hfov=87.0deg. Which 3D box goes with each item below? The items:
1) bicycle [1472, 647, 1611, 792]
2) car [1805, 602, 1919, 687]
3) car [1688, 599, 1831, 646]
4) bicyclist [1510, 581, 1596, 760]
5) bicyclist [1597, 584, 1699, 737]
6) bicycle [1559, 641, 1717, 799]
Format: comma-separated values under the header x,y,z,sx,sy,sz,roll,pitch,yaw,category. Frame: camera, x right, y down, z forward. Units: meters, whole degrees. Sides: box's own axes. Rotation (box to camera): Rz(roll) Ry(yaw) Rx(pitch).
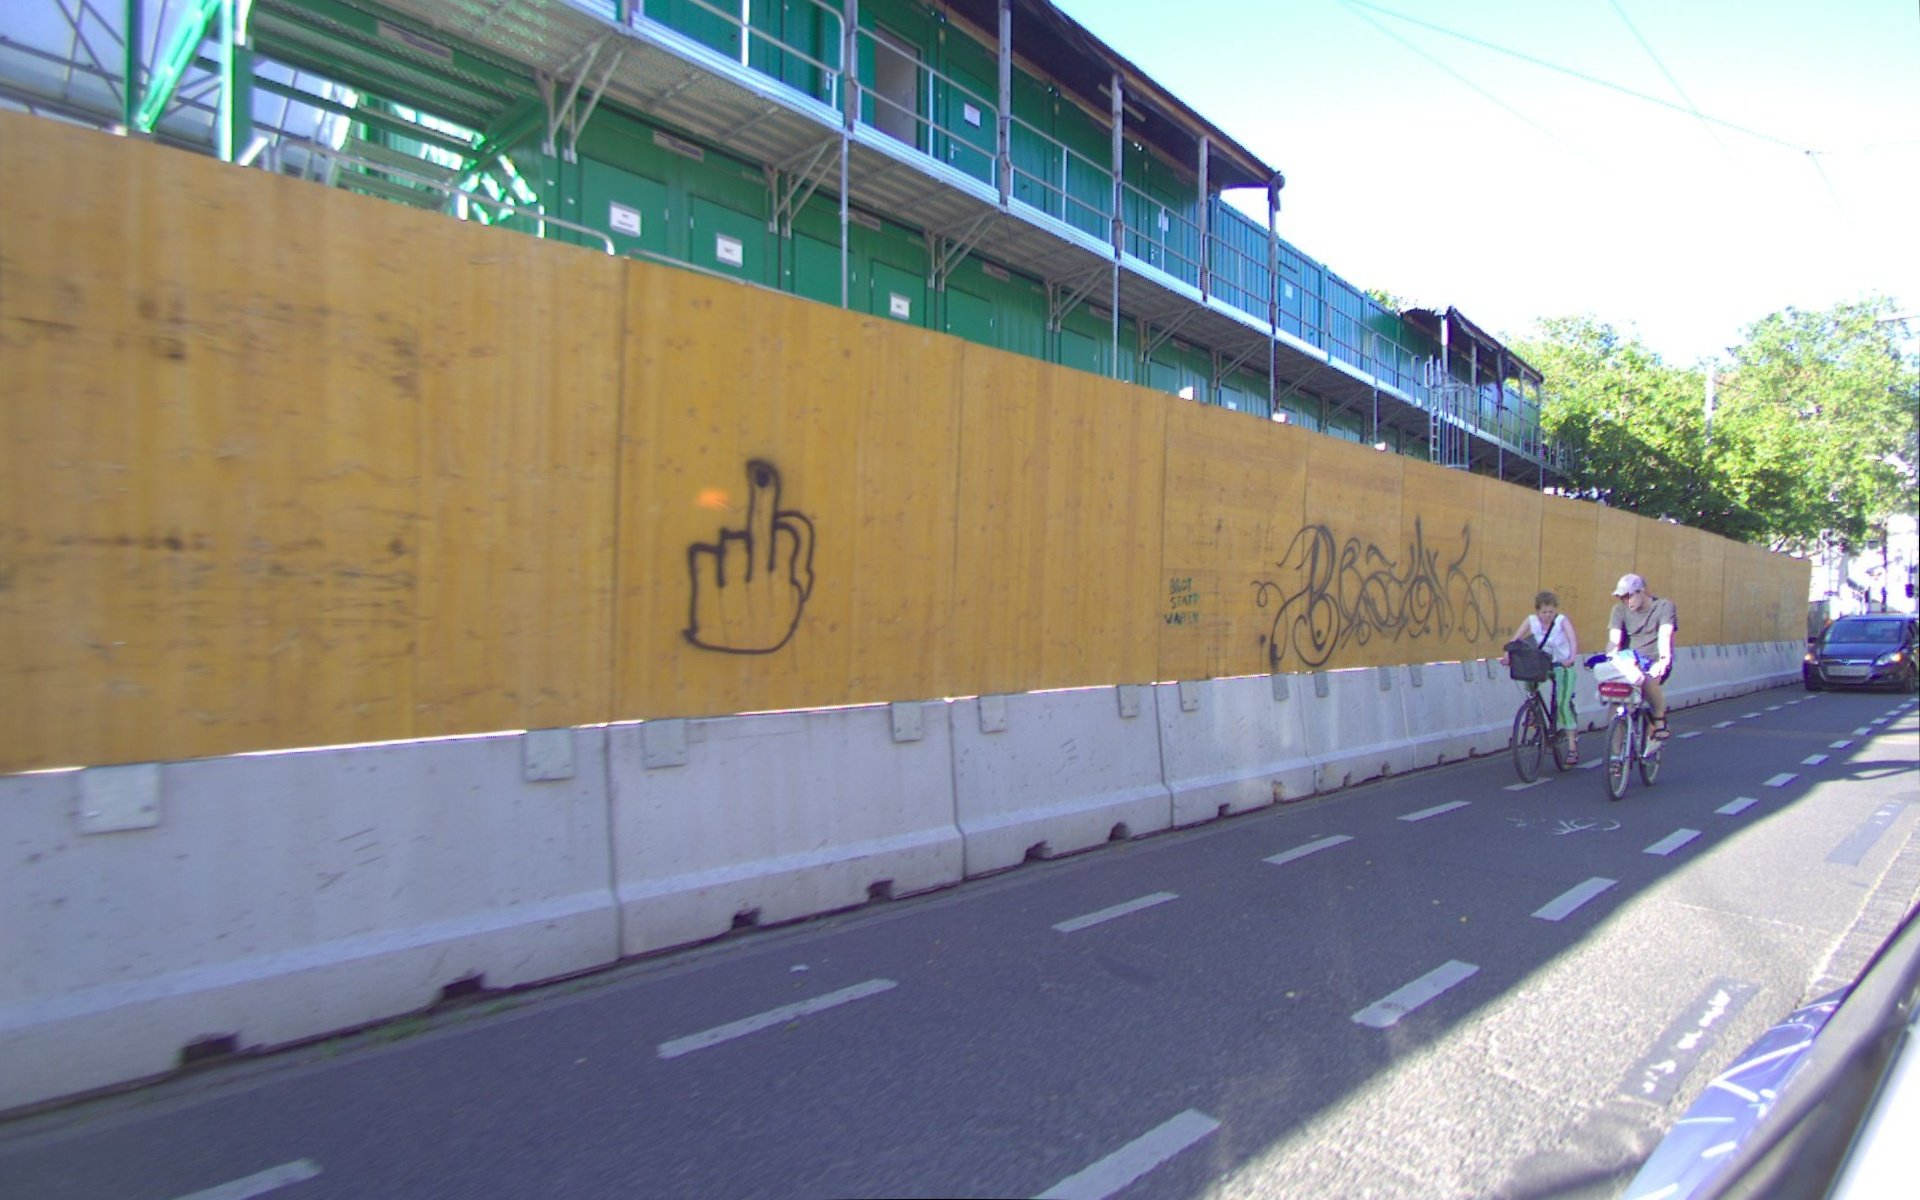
x,y,z,sx,sy,sz,roll,pitch,yaw,category
5.511,1.053,9.518,2.239,1.141,0.557,1,0,-45,bicycle
19.641,0.896,21.395,4.091,1.643,1.750,1,-2,-36,car
36.344,0.967,46.147,1.963,2.035,4.795,1,-1,-38,car
5.640,0.644,9.632,0.567,1.633,0.556,1,0,-44,bicyclist
5.886,0.496,8.666,0.348,1.253,0.652,1,0,-43,bicyclist
5.953,0.966,8.831,2.238,1.169,0.667,1,-2,-44,bicycle
